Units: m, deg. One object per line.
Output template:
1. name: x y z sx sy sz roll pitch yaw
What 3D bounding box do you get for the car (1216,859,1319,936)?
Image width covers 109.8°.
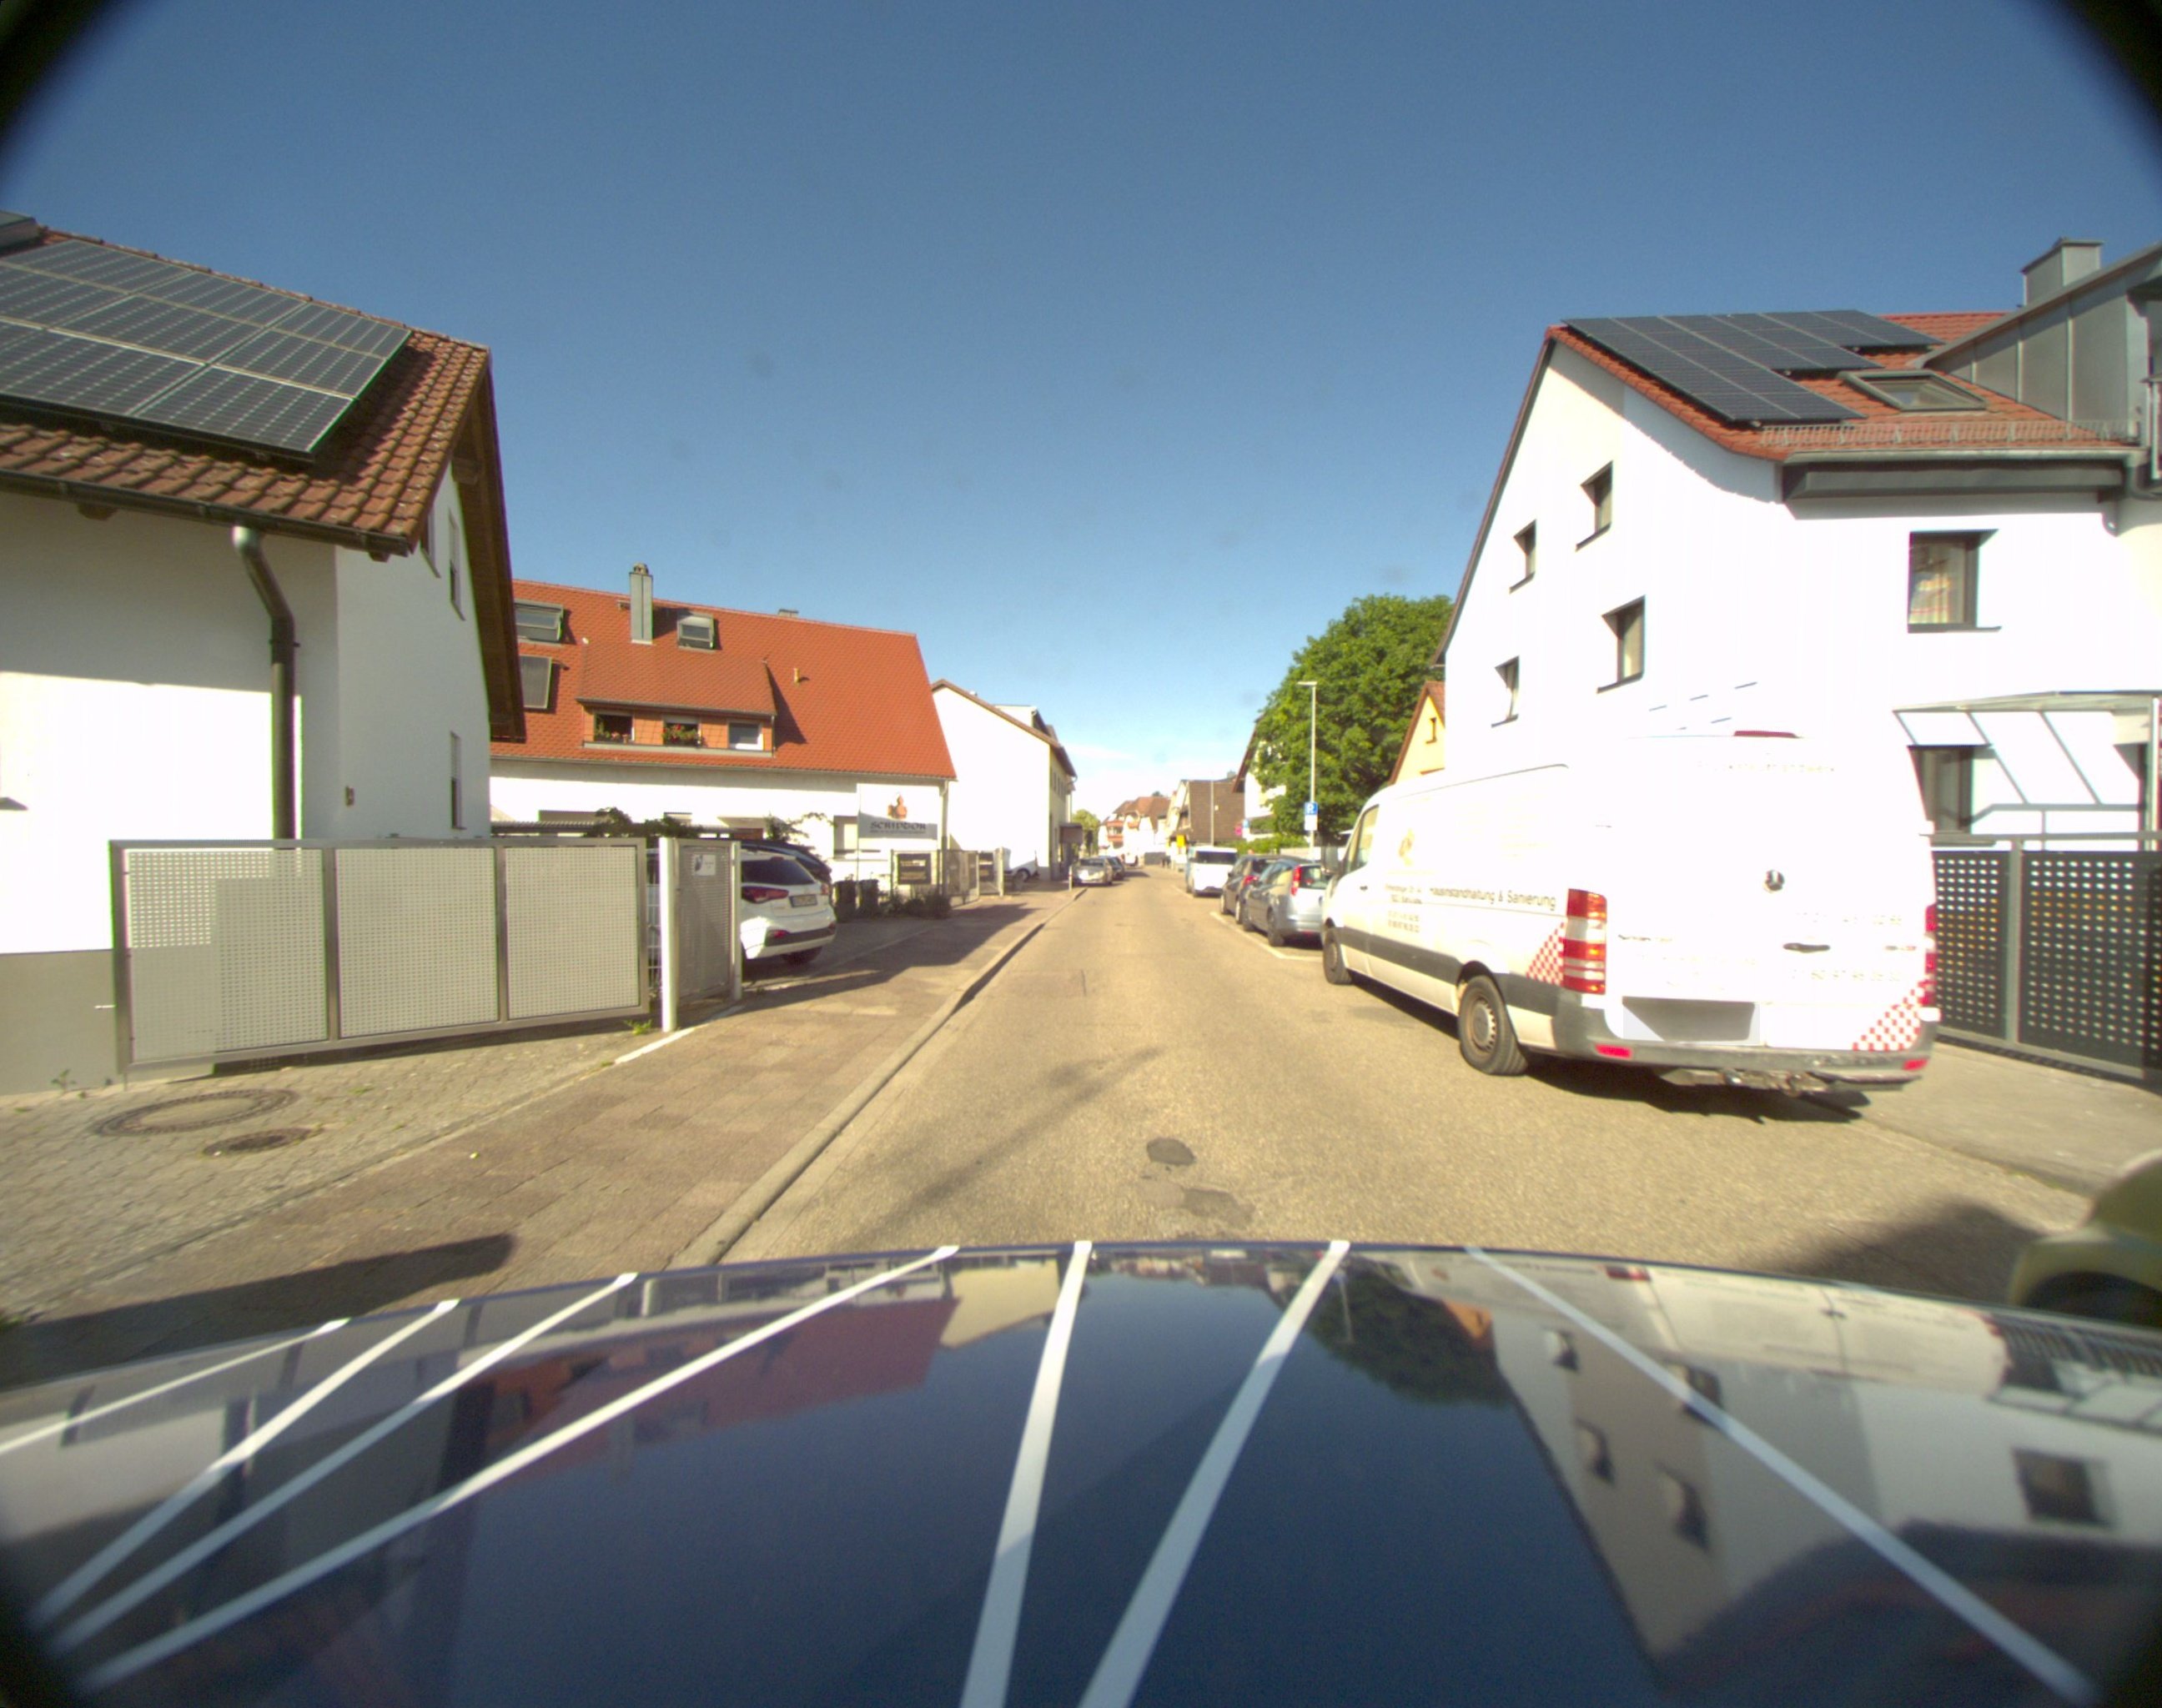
1. car: 4.351 0.956 18.302 1.718 1.589 3.926 0 0 3

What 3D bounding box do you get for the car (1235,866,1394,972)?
1. car: 3.973 1.017 13.641 1.715 1.495 4.236 1 0 3

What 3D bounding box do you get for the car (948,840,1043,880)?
1. car: -4.472 0.323 39.955 4.777 1.875 1.907 2 0 -6

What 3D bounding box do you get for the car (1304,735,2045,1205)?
1. car: 3.887 0.578 6.908 2.202 2.376 6.065 0 0 3

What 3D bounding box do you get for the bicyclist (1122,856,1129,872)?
1. bicyclist: 4.597 1.007 78.295 0.643 1.655 0.605 0 1 0

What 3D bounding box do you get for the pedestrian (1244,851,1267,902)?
1. pedestrian: 6.055 0.768 26.389 0.618 1.739 0.884 -1 1 3

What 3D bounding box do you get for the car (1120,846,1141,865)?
1. car: 6.620 0.159 102.240 2.258 2.456 5.515 1 0 -1

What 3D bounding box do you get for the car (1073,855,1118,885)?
1. car: 0.804 0.776 39.331 1.815 1.466 4.662 1 0 7

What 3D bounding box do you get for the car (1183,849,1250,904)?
1. car: 5.074 0.784 29.041 1.906 1.906 5.071 0 0 3

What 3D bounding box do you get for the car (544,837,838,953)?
1. car: -6.283 0.617 12.674 4.055 1.678 1.908 1 0 -24

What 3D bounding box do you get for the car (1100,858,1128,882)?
1. car: 2.258 1.050 52.386 1.812 1.466 4.844 -1 0 2

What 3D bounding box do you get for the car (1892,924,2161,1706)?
1. car: 2.864 0.986 0.551 1.577 1.537 2.967 2 0 9

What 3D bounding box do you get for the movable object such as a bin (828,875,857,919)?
1. movable object such as a bin: -5.295 0.948 16.884 0.517 0.918 0.422 -3 2 -26

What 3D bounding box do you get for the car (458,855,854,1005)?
1. car: -5.010 0.791 9.196 3.918 1.483 1.849 1 1 12

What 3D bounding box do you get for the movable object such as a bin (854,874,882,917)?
1. movable object such as a bin: -4.805 0.935 17.143 0.517 0.918 0.422 -3 2 -26

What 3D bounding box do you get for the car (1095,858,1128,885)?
1. car: 1.853 1.011 46.122 1.812 1.466 4.844 -1 0 2

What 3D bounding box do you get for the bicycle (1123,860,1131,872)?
1. bicycle: 4.708 1.232 78.272 0.639 1.175 2.021 -5 1 0
